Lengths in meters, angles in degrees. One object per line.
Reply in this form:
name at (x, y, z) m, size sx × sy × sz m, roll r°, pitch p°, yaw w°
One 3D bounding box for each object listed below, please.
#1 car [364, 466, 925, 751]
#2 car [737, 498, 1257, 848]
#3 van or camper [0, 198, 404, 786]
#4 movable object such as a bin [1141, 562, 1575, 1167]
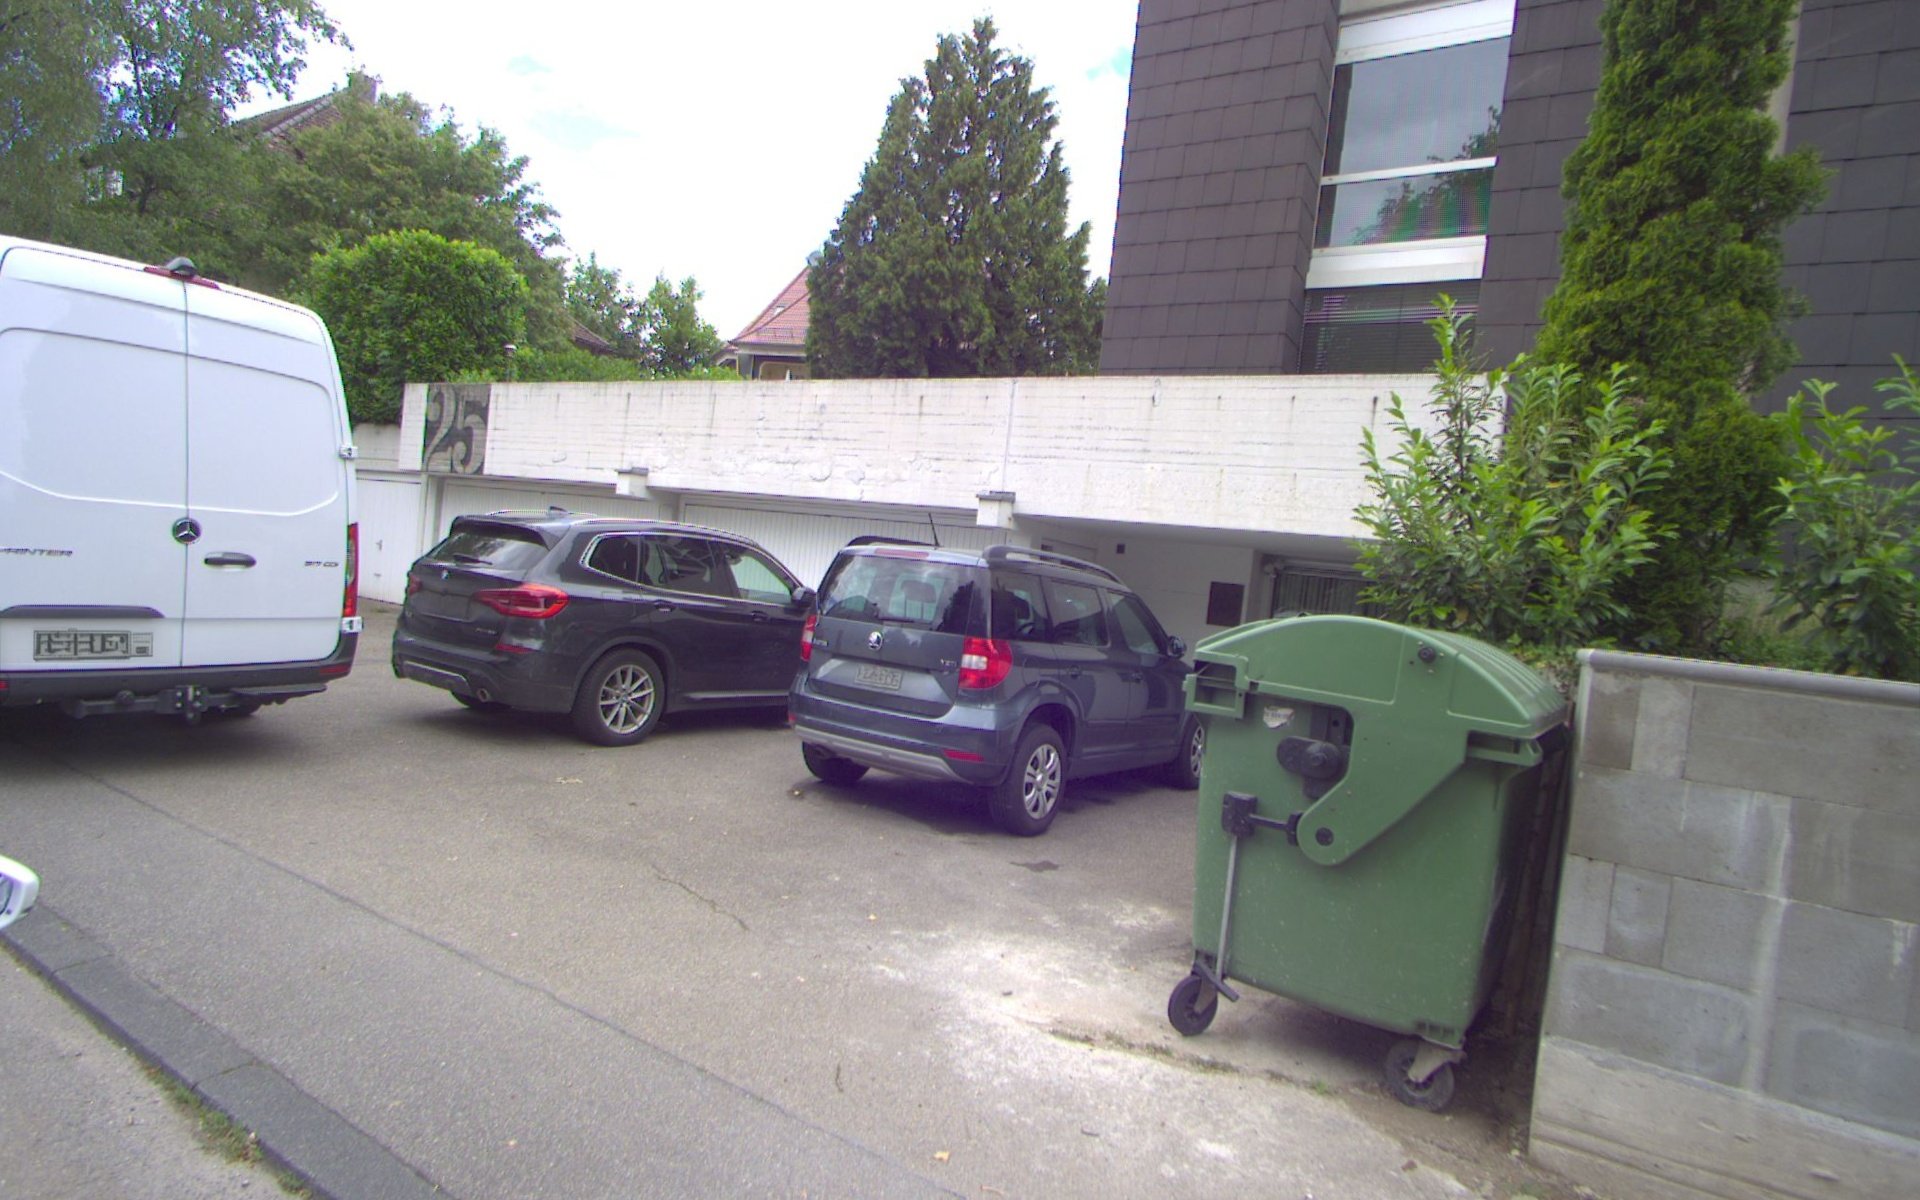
car at (-2.346, 0.121, 8.672) m, size 1.710 × 1.772 × 4.418 m, roll 7°, pitch 1°, yaw 33°
car at (0.549, 0.452, 7.391) m, size 1.804 × 1.772 × 3.973 m, roll 7°, pitch 1°, yaw 35°
van or camper at (-6.690, -0.737, 6.896) m, size 6.432 × 2.653 × 1.995 m, roll 7°, pitch 1°, yaw 32°
movable object such as a bin at (1.367, 0.727, 3.386) m, size 1.016 × 1.550 × 1.034 m, roll 7°, pitch 2°, yaw 33°
